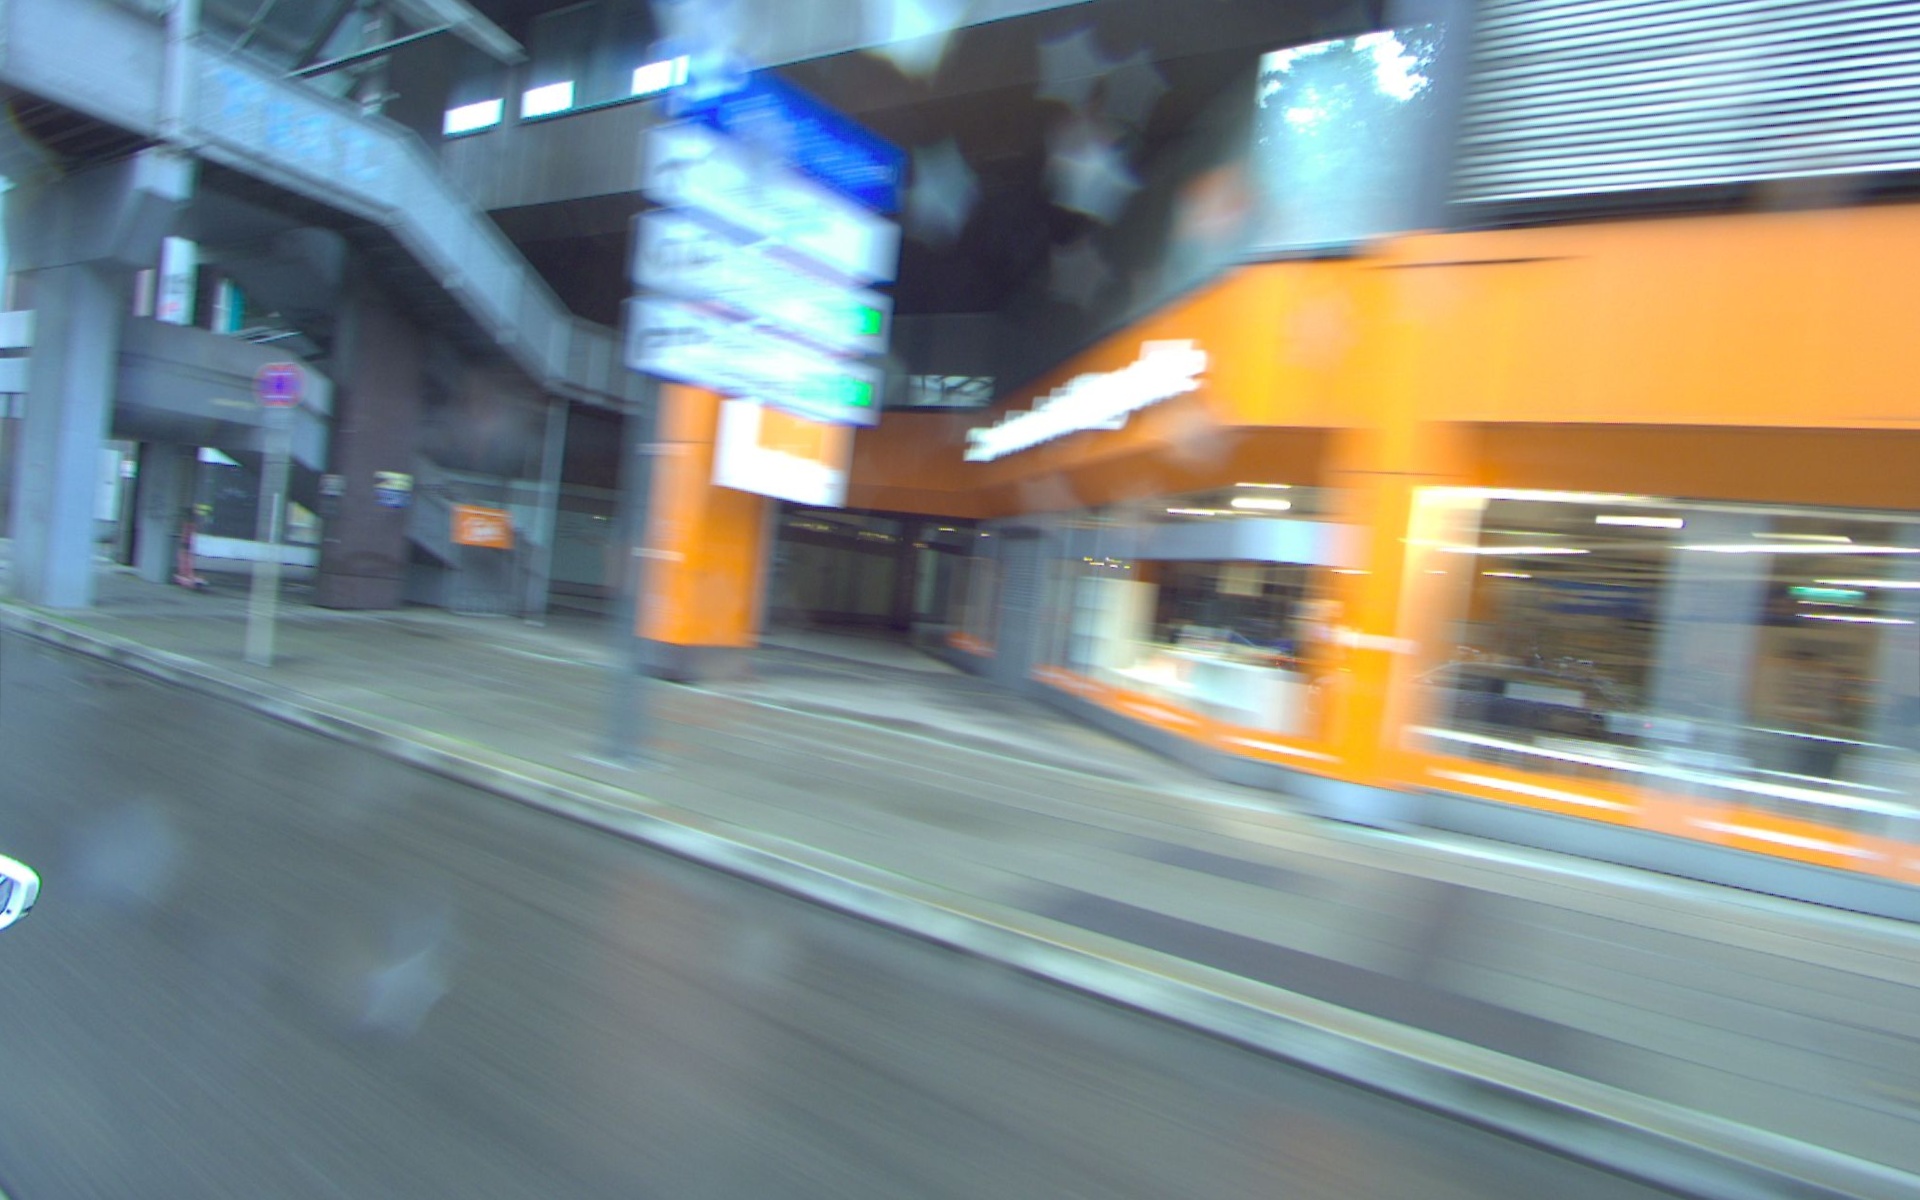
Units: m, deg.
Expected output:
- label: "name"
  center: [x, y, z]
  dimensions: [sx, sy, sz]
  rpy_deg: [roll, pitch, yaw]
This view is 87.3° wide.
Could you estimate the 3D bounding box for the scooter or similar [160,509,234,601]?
- label: "scooter or similar"
  center: [-11.767, -0.702, 15.498]
  dimensions: [1.371, 1.272, 0.350]
  rpy_deg: [7, 2, 31]
